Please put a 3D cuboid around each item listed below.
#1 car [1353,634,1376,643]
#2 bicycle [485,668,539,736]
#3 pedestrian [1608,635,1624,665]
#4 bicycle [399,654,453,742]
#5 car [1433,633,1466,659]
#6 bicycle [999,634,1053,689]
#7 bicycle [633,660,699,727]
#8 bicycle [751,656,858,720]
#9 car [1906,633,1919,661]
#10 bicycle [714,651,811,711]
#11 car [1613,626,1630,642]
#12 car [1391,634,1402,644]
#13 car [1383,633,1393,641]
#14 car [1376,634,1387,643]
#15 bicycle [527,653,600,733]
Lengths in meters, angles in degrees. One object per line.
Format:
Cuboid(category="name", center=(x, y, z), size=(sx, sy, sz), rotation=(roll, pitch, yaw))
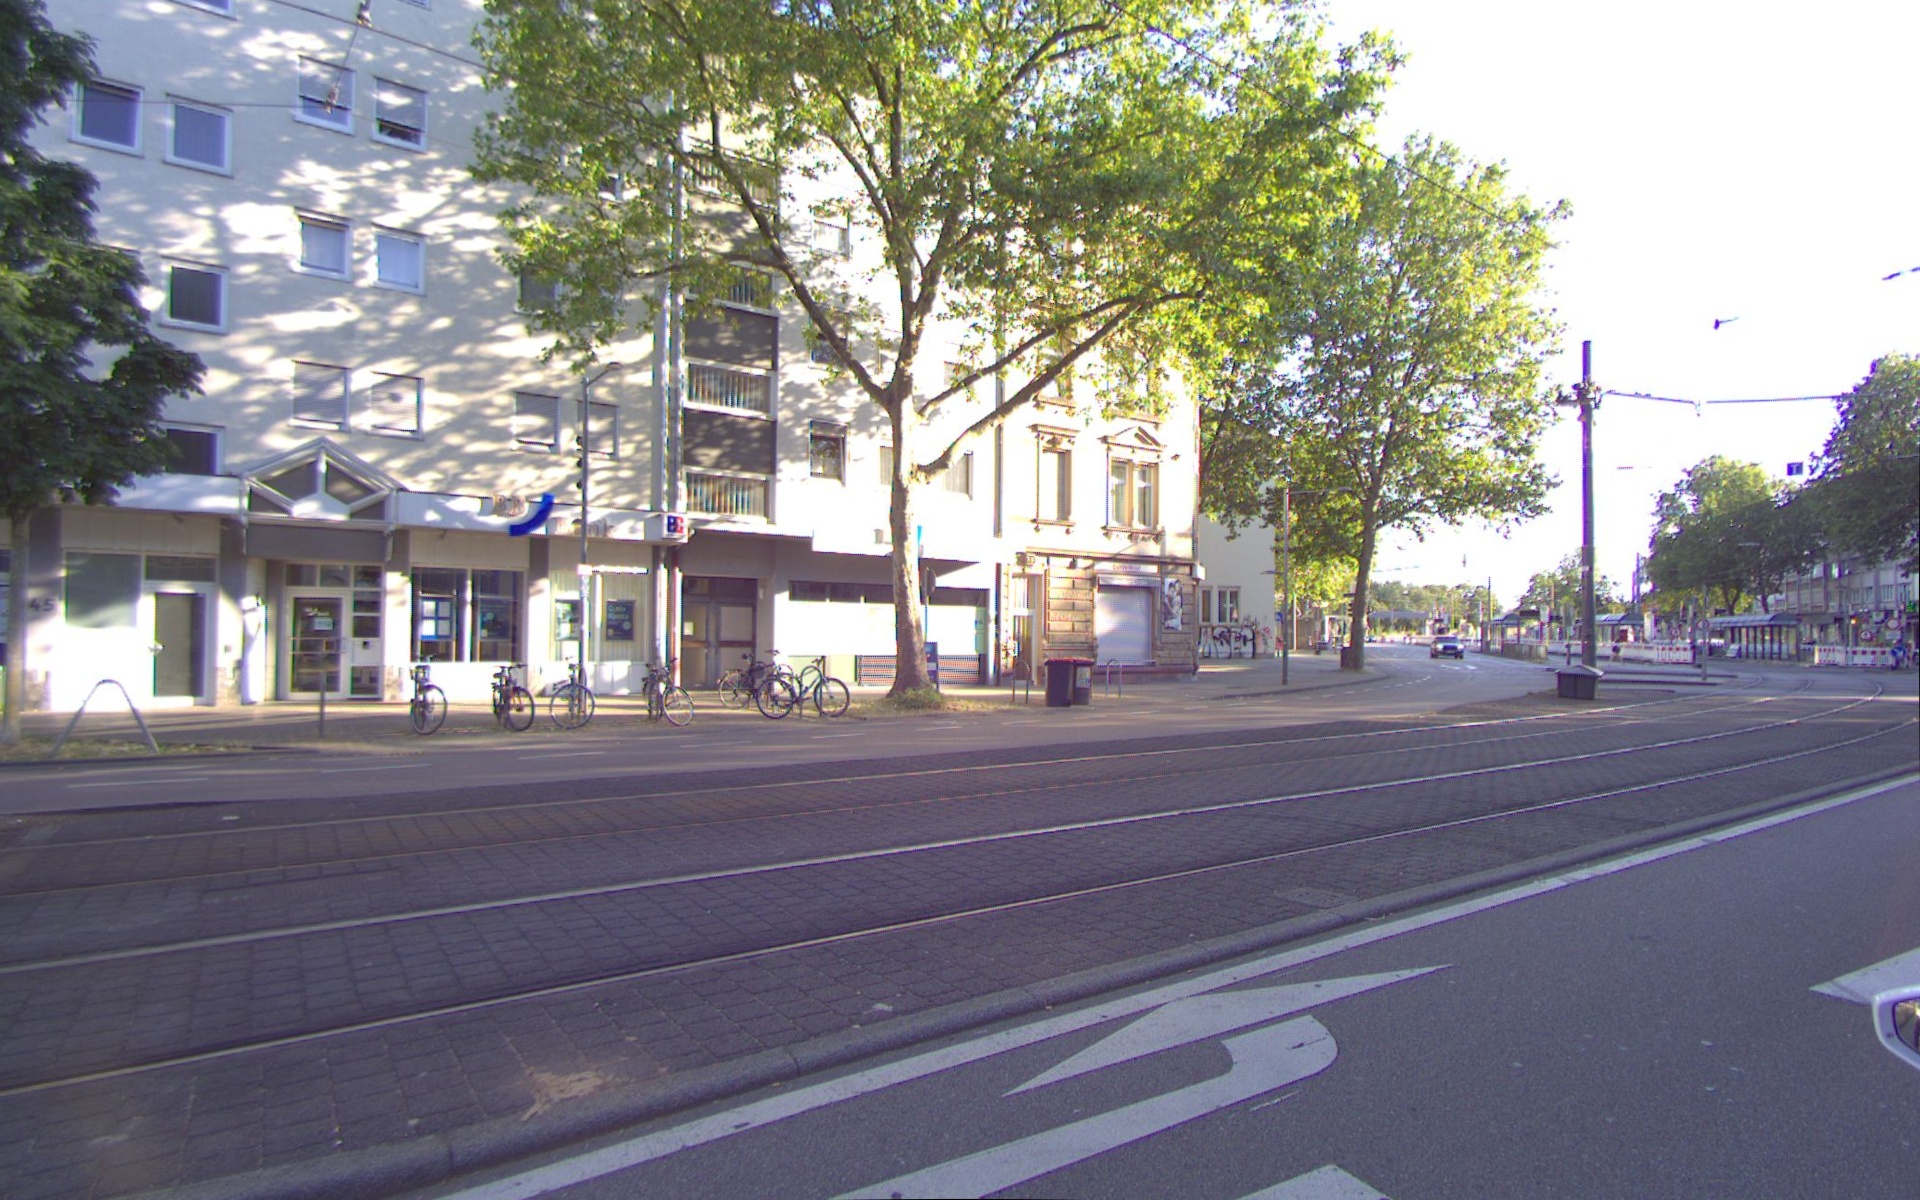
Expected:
Cuboid(category="car", center=(78.229, 7.386, 194.271), size=(3.919, 1.661, 1.792), rotation=(0, -2, 13))
Cuboid(category="bicycle", center=(-6.946, 1.547, 15.530), size=(0.467, 0.900, 1.729), rotation=(2, -1, -34))
Cuboid(category="pedestrian", center=(36.747, 2.811, 56.288), size=(0.645, 1.678, 0.444), rotation=(0, -2, 18))
Cuboid(category="bicycle", center=(-7.847, 1.400, 14.741), size=(0.506, 1.153, 1.729), rotation=(2, -1, -34))
Cuboid(category="car", center=(32.964, 3.107, 67.694), size=(1.962, 1.661, 3.997), rotation=(0, -2, 25))
Cuboid(category="bicycle", center=(1.800, 1.668, 27.615), size=(0.469, 1.430, 1.956), rotation=(1, -1, -29))
Cuboid(category="bicycle", center=(-5.046, 1.569, 17.164), size=(0.584, 1.002, 1.729), rotation=(2, -1, -34))
Cuboid(category="bicycle", center=(-2.808, 1.575, 18.227), size=(1.800, 1.091, 0.649), rotation=(2, -2, -29))
Cuboid(category="car", center=(64.624, 3.147, 66.077), size=(1.960, 1.815, 4.000), rotation=(2, -1, 20))
Cuboid(category="bicycle", center=(-3.922, 1.595, 20.003), size=(1.777, 1.132, 0.617), rotation=(2, -2, -29))
Cuboid(category="car", center=(88.115, 4.535, 133.819), size=(1.593, 2.040, 3.110), rotation=(0, -2, 26))
Cuboid(category="car", center=(78.764, 7.042, 181.334), size=(1.814, 1.706, 3.715), rotation=(-2, -2, 23))
Cuboid(category="car", center=(89.561, 7.755, 210.266), size=(1.814, 1.706, 3.716), rotation=(0, -2, 23))
Cuboid(category="car", center=(79.443, 7.207, 189.317), size=(1.814, 1.706, 3.716), rotation=(0, -2, 23))
Cuboid(category="bicycle", center=(-6.365, 1.448, 16.071), size=(0.724, 1.128, 1.729), rotation=(2, -1, -34))
